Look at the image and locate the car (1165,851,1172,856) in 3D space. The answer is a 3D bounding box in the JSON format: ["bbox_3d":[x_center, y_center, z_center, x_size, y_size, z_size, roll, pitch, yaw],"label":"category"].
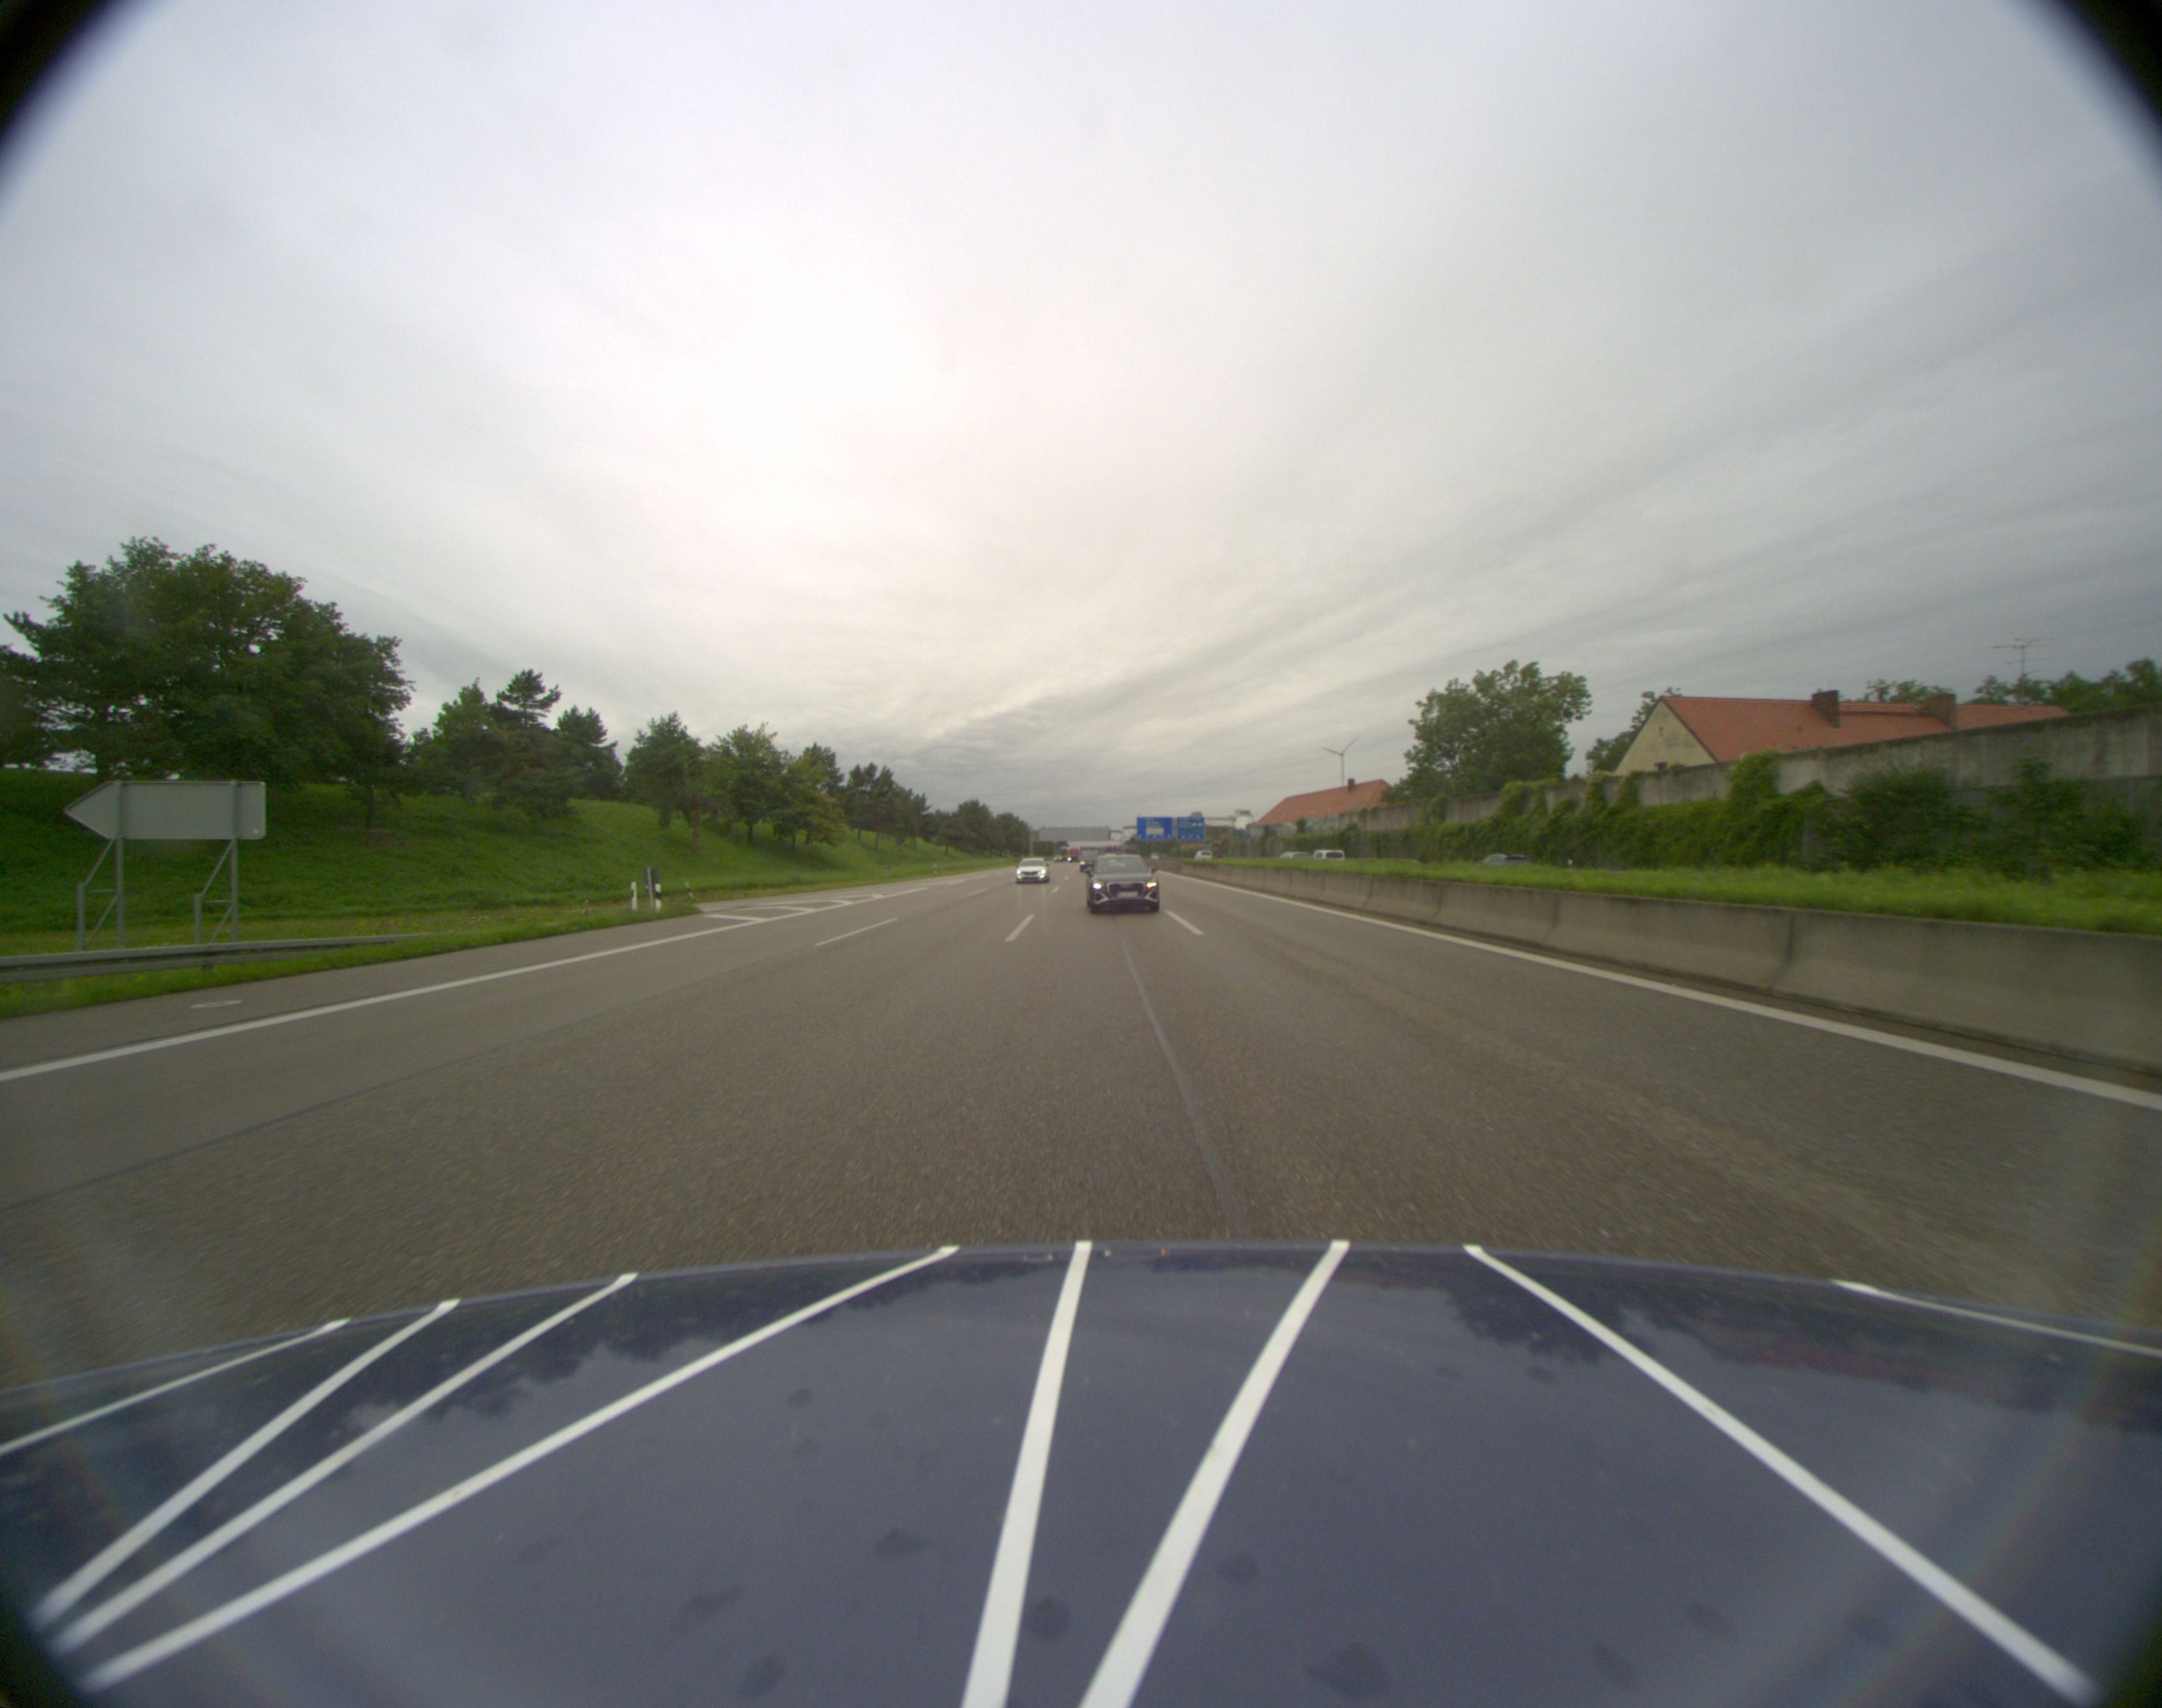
[{"bbox_3d":[30.007,-0.324,259.443,1.960,1.543,4.521,-2,1,2],"label":"car"}]

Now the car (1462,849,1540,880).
[{"bbox_3d":[23.213,0.532,42.141,1.999,1.565,3.999,-2,1,-2],"label":"car"}]

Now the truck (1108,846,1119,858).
[{"bbox_3d":[6.014,-0.392,141.218,1.998,2.002,4.000,-2,0,1],"label":"truck"}]

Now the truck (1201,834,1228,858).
[{"bbox_3d":[21.922,-1.308,125.042,2.698,3.755,8.335,-2,1,0],"label":"truck"}]

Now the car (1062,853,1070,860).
[{"bbox_3d":[-4.150,0.640,214.607,1.998,2.002,4.000,-2,1,2],"label":"car"}]

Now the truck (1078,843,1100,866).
[{"bbox_3d":[0.768,0.011,71.555,1.894,2.002,6.261,-2,1,1],"label":"truck"}]

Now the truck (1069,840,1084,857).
[{"bbox_3d":[-0.976,-1.211,172.391,2.836,3.634,10.670,-2,1,1],"label":"truck"}]

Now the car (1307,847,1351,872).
[{"bbox_3d":[21.180,0.404,65.058,1.999,2.002,5.226,-2,1,0],"label":"car"}]

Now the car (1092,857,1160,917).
[{"bbox_3d":[1.139,0.829,20.588,1.616,1.403,3.326,-2,1,0],"label":"car"}]

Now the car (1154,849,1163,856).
[{"bbox_3d":[23.223,-0.533,228.172,1.998,2.002,4.956,-2,1,0],"label":"car"}]

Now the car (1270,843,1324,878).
[{"bbox_3d":[13.201,0.344,46.755,1.999,2.002,4.400,-2,1,-1],"label":"car"}]

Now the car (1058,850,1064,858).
[{"bbox_3d":[-4.636,0.039,175.477,1.346,1.732,3.106,-2,1,1],"label":"car"}]

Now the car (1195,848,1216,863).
[{"bbox_3d":[17.154,0.214,104.926,2.085,2.002,5.194,0,0,0],"label":"car"}]

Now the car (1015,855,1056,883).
[{"bbox_3d":[-2.653,0.846,45.245,1.998,1.555,4.910,-1,0,1],"label":"car"}]
